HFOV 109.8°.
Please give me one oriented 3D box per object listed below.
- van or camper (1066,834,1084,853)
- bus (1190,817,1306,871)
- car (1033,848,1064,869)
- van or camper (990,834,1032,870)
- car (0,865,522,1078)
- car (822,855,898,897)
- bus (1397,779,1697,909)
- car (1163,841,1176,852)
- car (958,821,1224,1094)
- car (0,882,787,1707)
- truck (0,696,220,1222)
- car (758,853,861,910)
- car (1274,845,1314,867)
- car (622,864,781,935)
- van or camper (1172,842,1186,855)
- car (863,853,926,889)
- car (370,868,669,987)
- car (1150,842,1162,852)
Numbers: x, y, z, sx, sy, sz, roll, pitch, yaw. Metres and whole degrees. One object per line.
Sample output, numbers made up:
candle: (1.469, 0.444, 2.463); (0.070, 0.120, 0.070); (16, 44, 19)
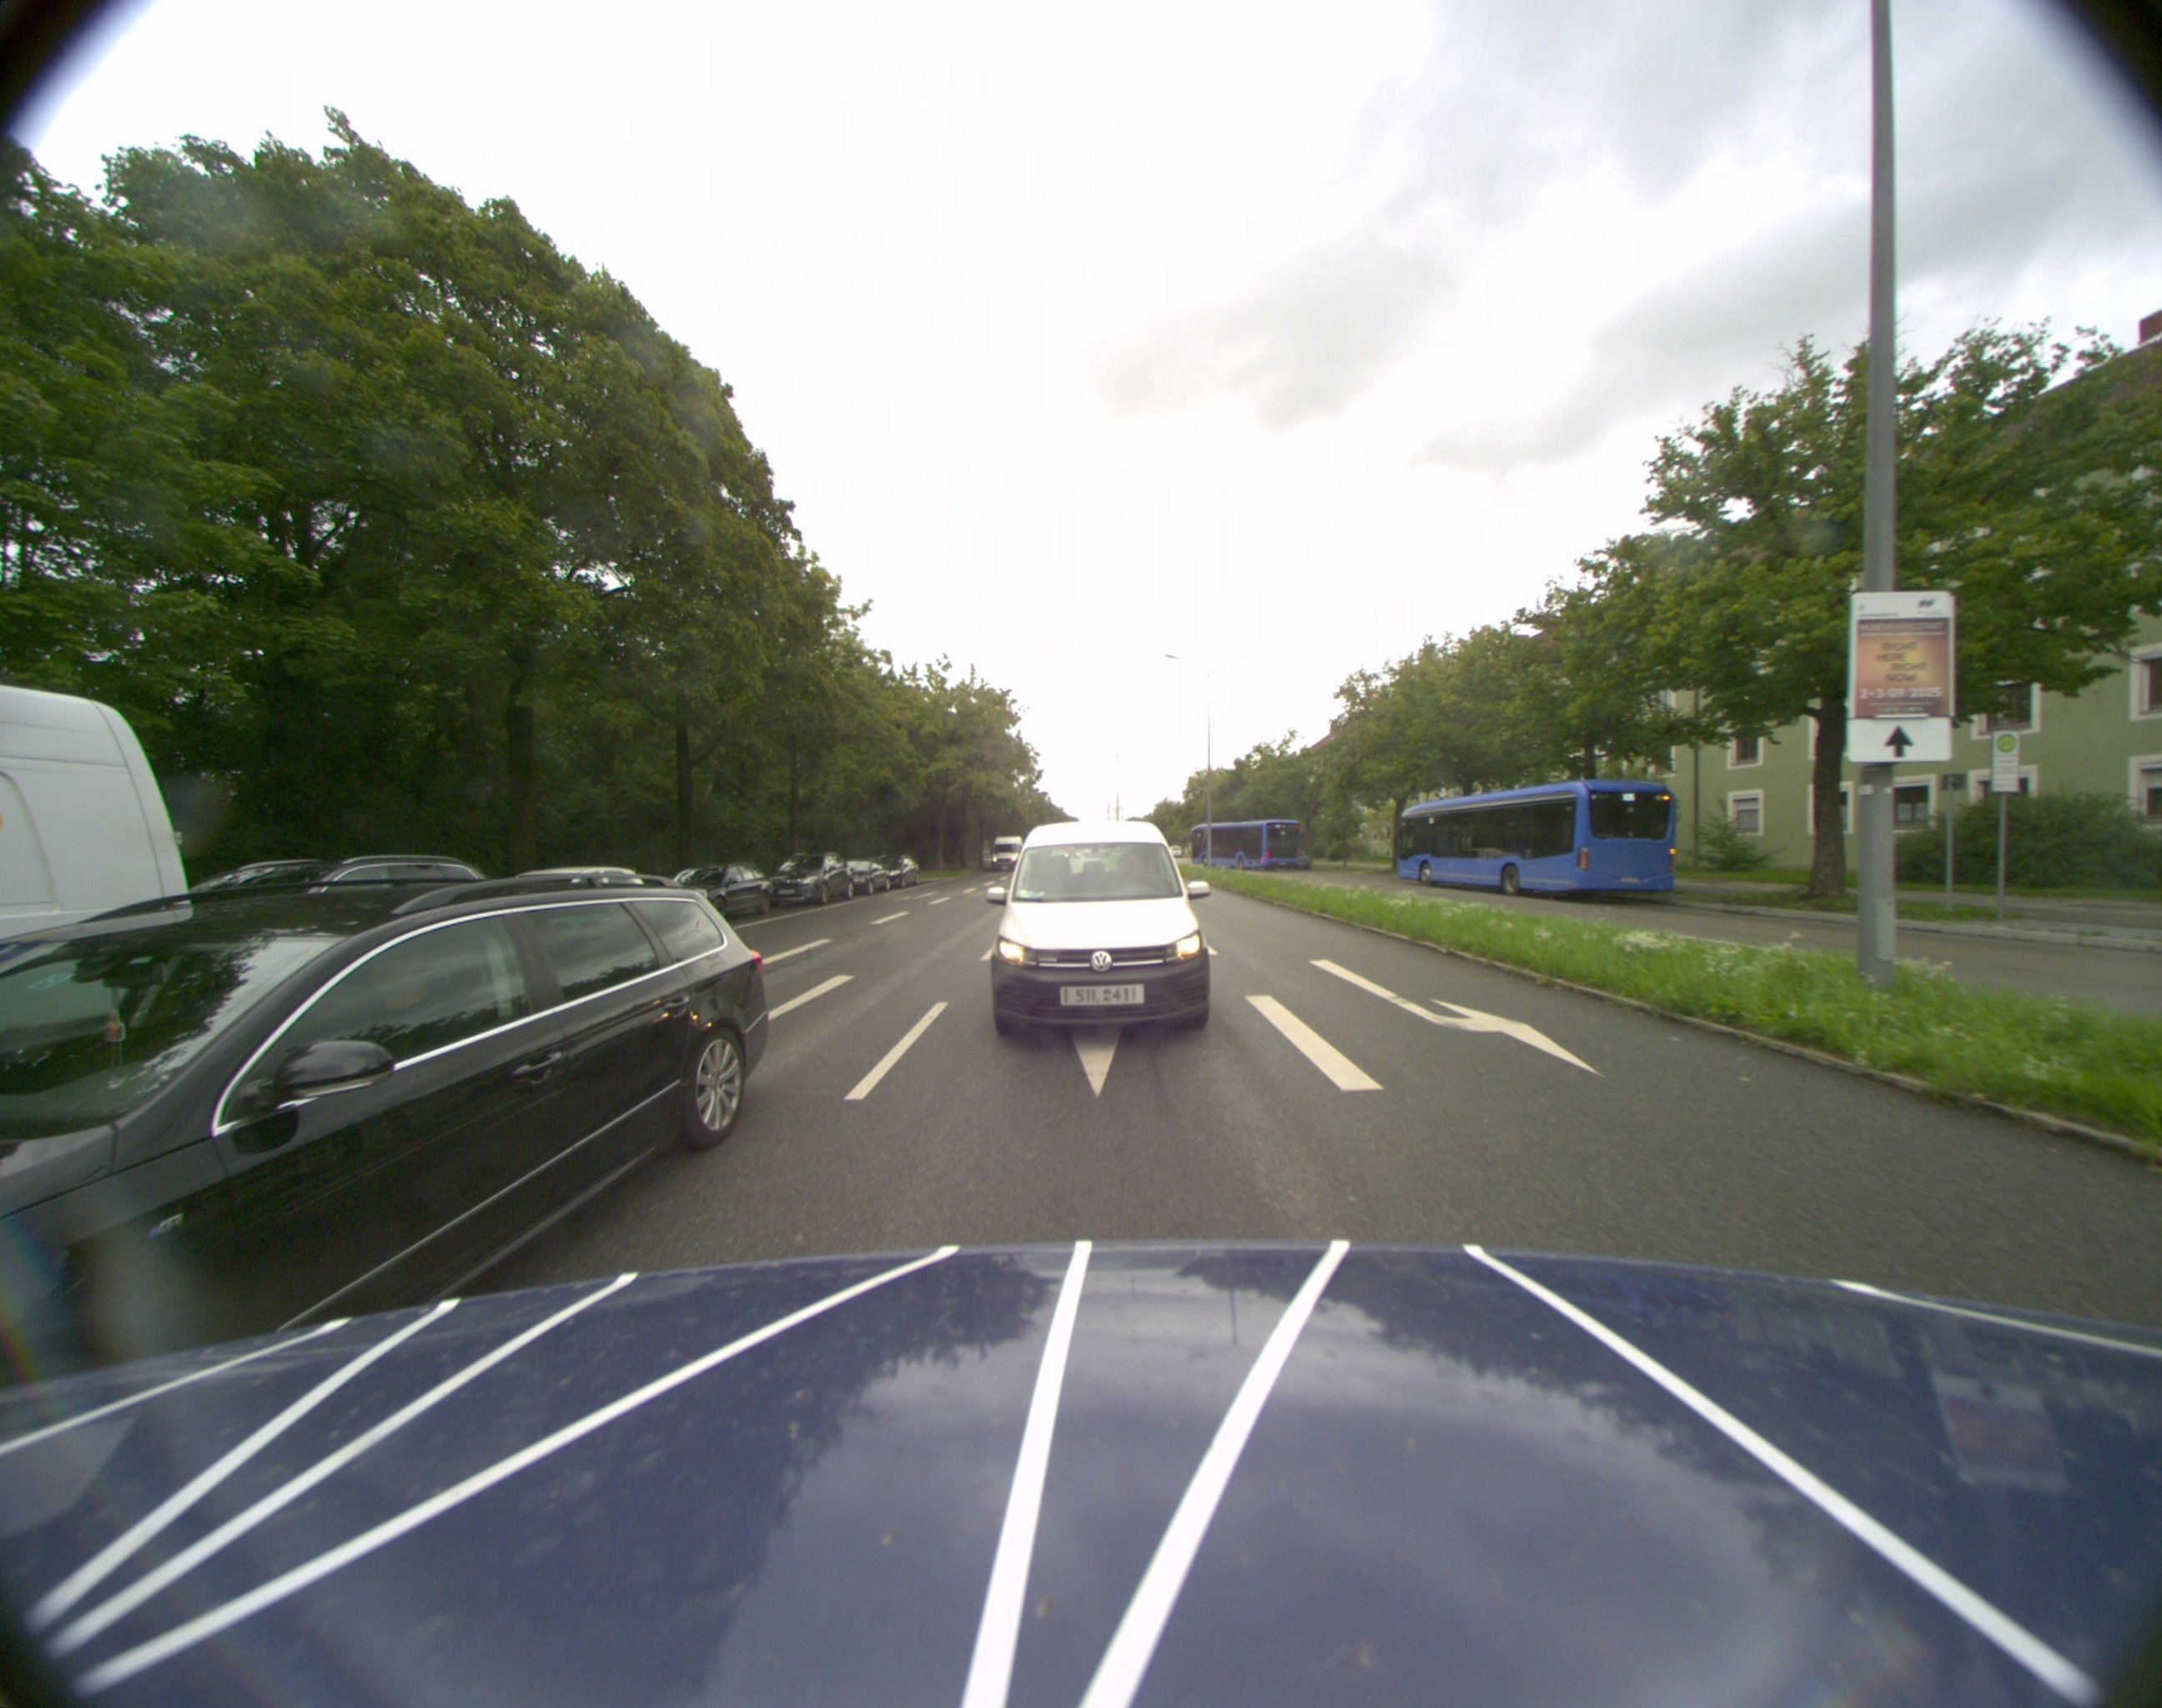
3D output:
van or camper: (-1.035, -1.892, 135.373); (2.780, 3.219, 7.074); (-1, 1, 2)
bus: (11.383, -0.715, 53.637); (2.756, 3.324, 12.256); (0, 1, -14)
car: (-2.363, 0.297, 56.488); (1.819, 1.421, 4.671); (-2, 1, 3)
van or camper: (-5.194, -0.188, 57.617); (2.183, 2.546, 7.074); (-1, 1, 2)
car: (-8.881, 1.023, 8.531); (1.884, 1.640, 4.396); (-1, 1, 1)
car: (-8.703, 0.835, 30.237); (1.752, 1.459, 4.038); (-1, 1, 1)
bus: (14.497, -0.355, 25.577); (2.752, 3.324, 12.047); (0, 1, 1)
car: (16.372, -1.394, 141.082); (1.998, 2.002, 3.999); (-1, 1, 1)
car: (0.100, 0.663, 7.418); (1.752, 1.809, 4.671); (-1, 1, 1)
car: (-2.814, 0.967, 2.525); (1.752, 1.466, 4.671); (-2, 1, 1)
truck: (-6.375, 0.579, 1.029); (1.998, 2.589, 7.226); (-2, 1, 1)
car: (-8.794, 0.837, 25.004); (1.752, 1.640, 4.254); (-1, 1, 1)
car: (15.254, 0.126, 54.596); (1.857, 1.454, 3.910); (-2, 1, 2)
car: (-9.267, 1.037, 19.001); (1.752, 1.420, 4.254); (-1, 1, 1)
van or camper: (16.471, -0.937, 127.893); (1.998, 2.002, 3.999); (-1, 1, 1)
car: (-8.503, 0.750, 35.035); (1.752, 1.459, 4.254); (-1, 1, 1)
car: (-9.154, 1.090, 12.971); (1.752, 1.515, 4.396); (-1, 1, 1)
car: (15.176, -1.436, 154.056); (1.998, 2.002, 3.999); (-1, 1, 1)
